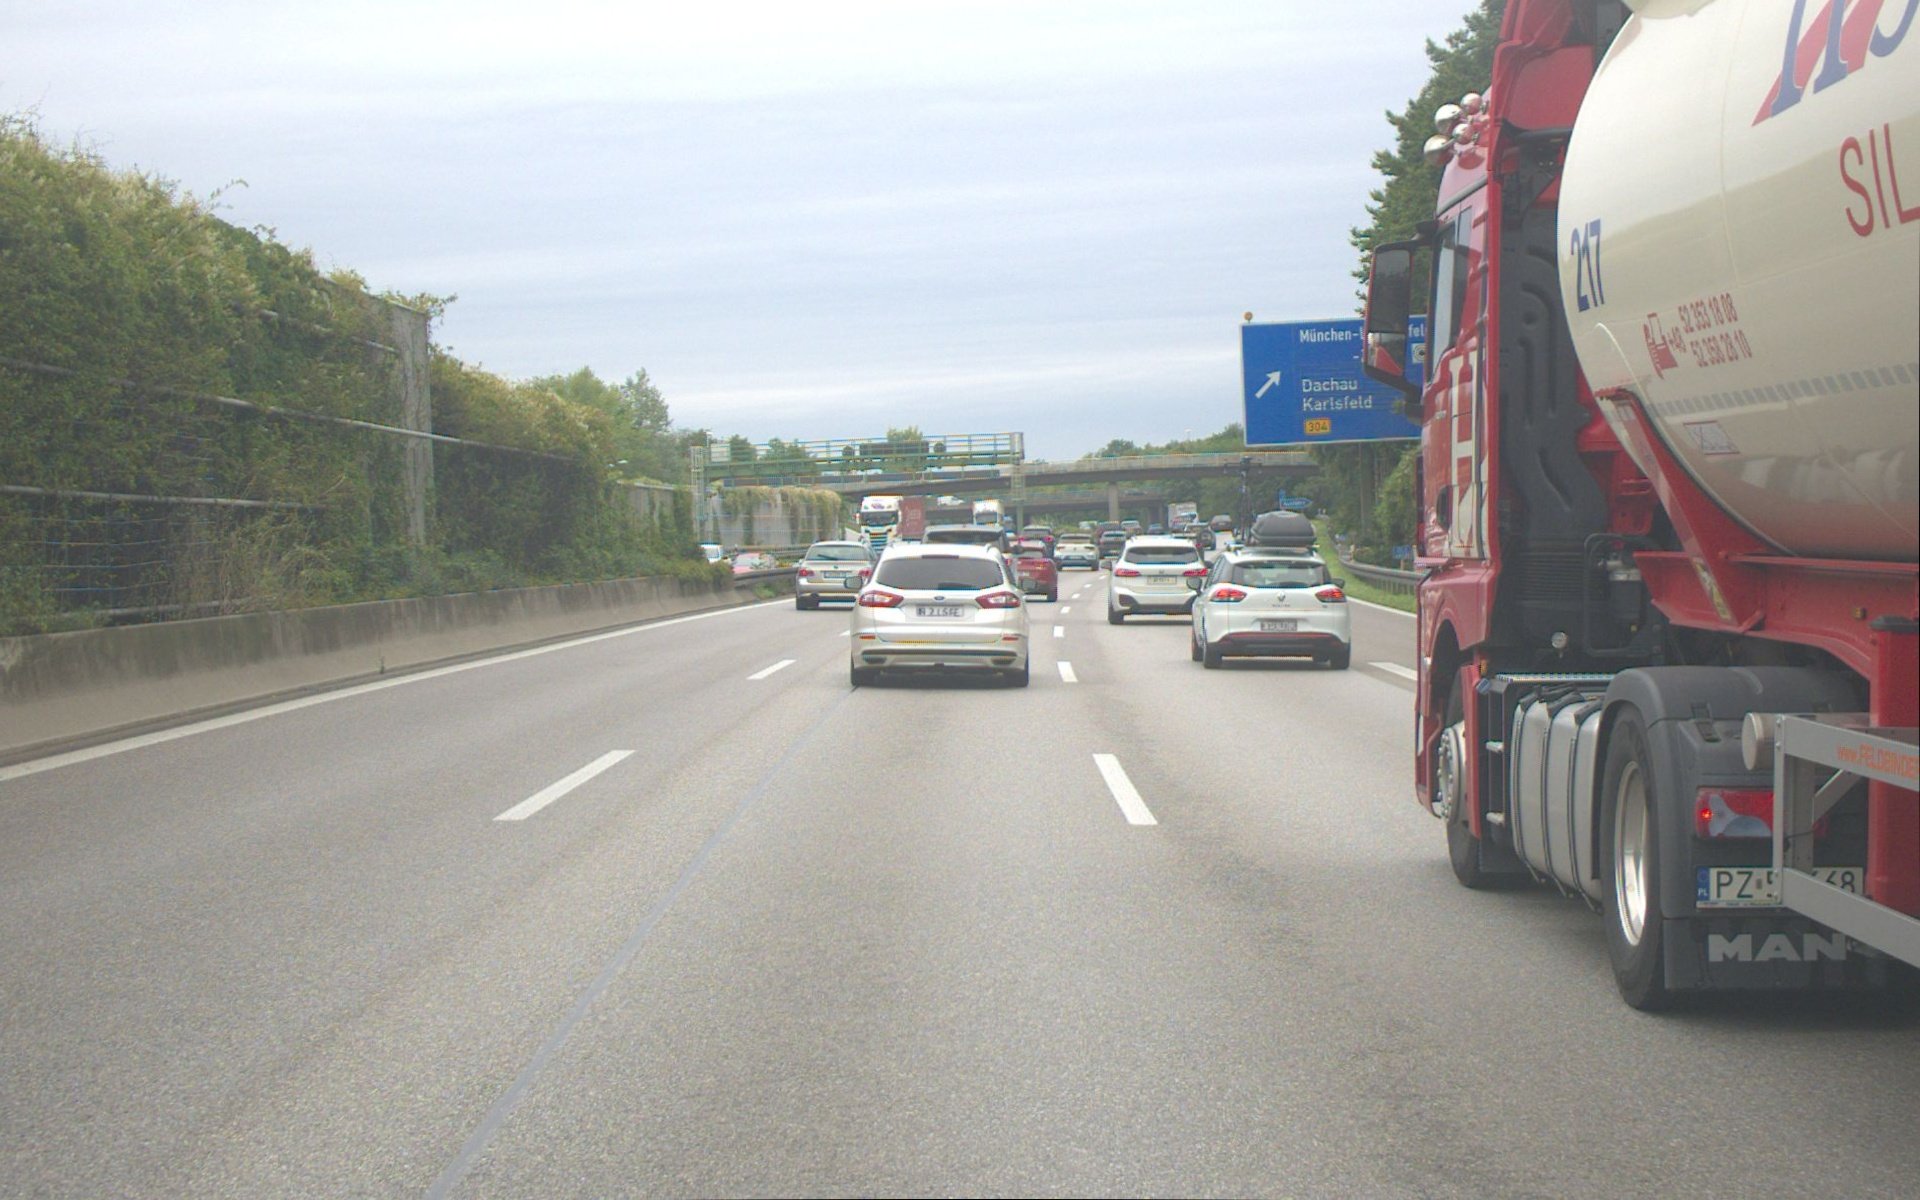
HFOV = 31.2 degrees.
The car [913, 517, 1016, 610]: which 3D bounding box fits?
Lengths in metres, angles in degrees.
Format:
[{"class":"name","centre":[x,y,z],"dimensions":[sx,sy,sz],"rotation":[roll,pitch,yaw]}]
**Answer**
[{"class":"car","centre":[0.061,-0.691,62.976],"dimensions":[1.689,1.501,3.872],"rotation":[4,2,-2]}]

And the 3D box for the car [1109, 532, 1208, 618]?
[{"class":"car","centre":[3.571,-0.454,62.387],"dimensions":[1.689,1.501,3.871],"rotation":[0,0,2]}]

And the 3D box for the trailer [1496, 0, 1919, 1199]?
[{"class":"trailer","centre":[3.439,-0.557,6.513],"dimensions":[2.668,3.925,13.131],"rotation":[0,1,-1]}]

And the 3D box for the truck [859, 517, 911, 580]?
[{"class":"truck","centre":[-4.929,-3.415,226.825],"dimensions":[2.669,4.113,5.915],"rotation":[-1,1,6]}]

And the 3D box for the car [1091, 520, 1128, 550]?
[{"class":"car","centre":[7.667,-3.348,176.334],"dimensions":[1.689,1.534,3.872],"rotation":[0,1,-1]}]

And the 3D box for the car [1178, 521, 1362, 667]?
[{"class":"car","centre":[3.710,-0.099,41.948],"dimensions":[1.816,1.620,5.030],"rotation":[2,1,1]}]

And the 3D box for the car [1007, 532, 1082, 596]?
[{"class":"car","centre":[2.083,-0.900,84.152],"dimensions":[1.689,1.501,3.871],"rotation":[0,1,4]}]

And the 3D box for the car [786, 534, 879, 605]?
[{"class":"car","centre":[-2.719,-0.630,74.279],"dimensions":[1.720,1.464,5.030],"rotation":[0,0,1]}]

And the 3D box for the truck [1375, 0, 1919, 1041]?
[{"class":"truck","centre":[3.377,-0.678,13.602],"dimensions":[2.695,3.899,6.556],"rotation":[0,1,0]}]

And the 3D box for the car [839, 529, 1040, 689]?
[{"class":"car","centre":[-0.294,0.056,36.606],"dimensions":[1.891,1.499,5.031],"rotation":[3,1,-2]}]

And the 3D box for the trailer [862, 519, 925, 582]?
[{"class":"trailer","centre":[-4.423,-3.360,230.903],"dimensions":[2.669,4.113,13.128],"rotation":[0,1,6]}]

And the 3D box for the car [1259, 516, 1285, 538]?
[{"class":"car","centre":[20.215,-4.744,222.815],"dimensions":[1.689,1.417,3.871],"rotation":[0,1,5]}]

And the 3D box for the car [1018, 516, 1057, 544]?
[{"class":"car","centre":[3.959,-3.568,175.152],"dimensions":[1.689,1.417,3.871],"rotation":[0,1,5]}]

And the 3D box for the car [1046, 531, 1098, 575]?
[{"class":"car","centre":[4.631,-1.920,141.389],"dimensions":[1.790,1.773,3.870],"rotation":[-1,1,7]}]

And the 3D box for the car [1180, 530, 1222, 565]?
[{"class":"car","centre":[10.785,-2.336,153.526],"dimensions":[1.689,1.534,3.870],"rotation":[0,1,7]}]

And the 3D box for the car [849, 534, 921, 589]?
[{"class":"car","centre":[-2.075,-1.086,96.850],"dimensions":[1.720,1.507,5.030],"rotation":[0,1,2]}]
